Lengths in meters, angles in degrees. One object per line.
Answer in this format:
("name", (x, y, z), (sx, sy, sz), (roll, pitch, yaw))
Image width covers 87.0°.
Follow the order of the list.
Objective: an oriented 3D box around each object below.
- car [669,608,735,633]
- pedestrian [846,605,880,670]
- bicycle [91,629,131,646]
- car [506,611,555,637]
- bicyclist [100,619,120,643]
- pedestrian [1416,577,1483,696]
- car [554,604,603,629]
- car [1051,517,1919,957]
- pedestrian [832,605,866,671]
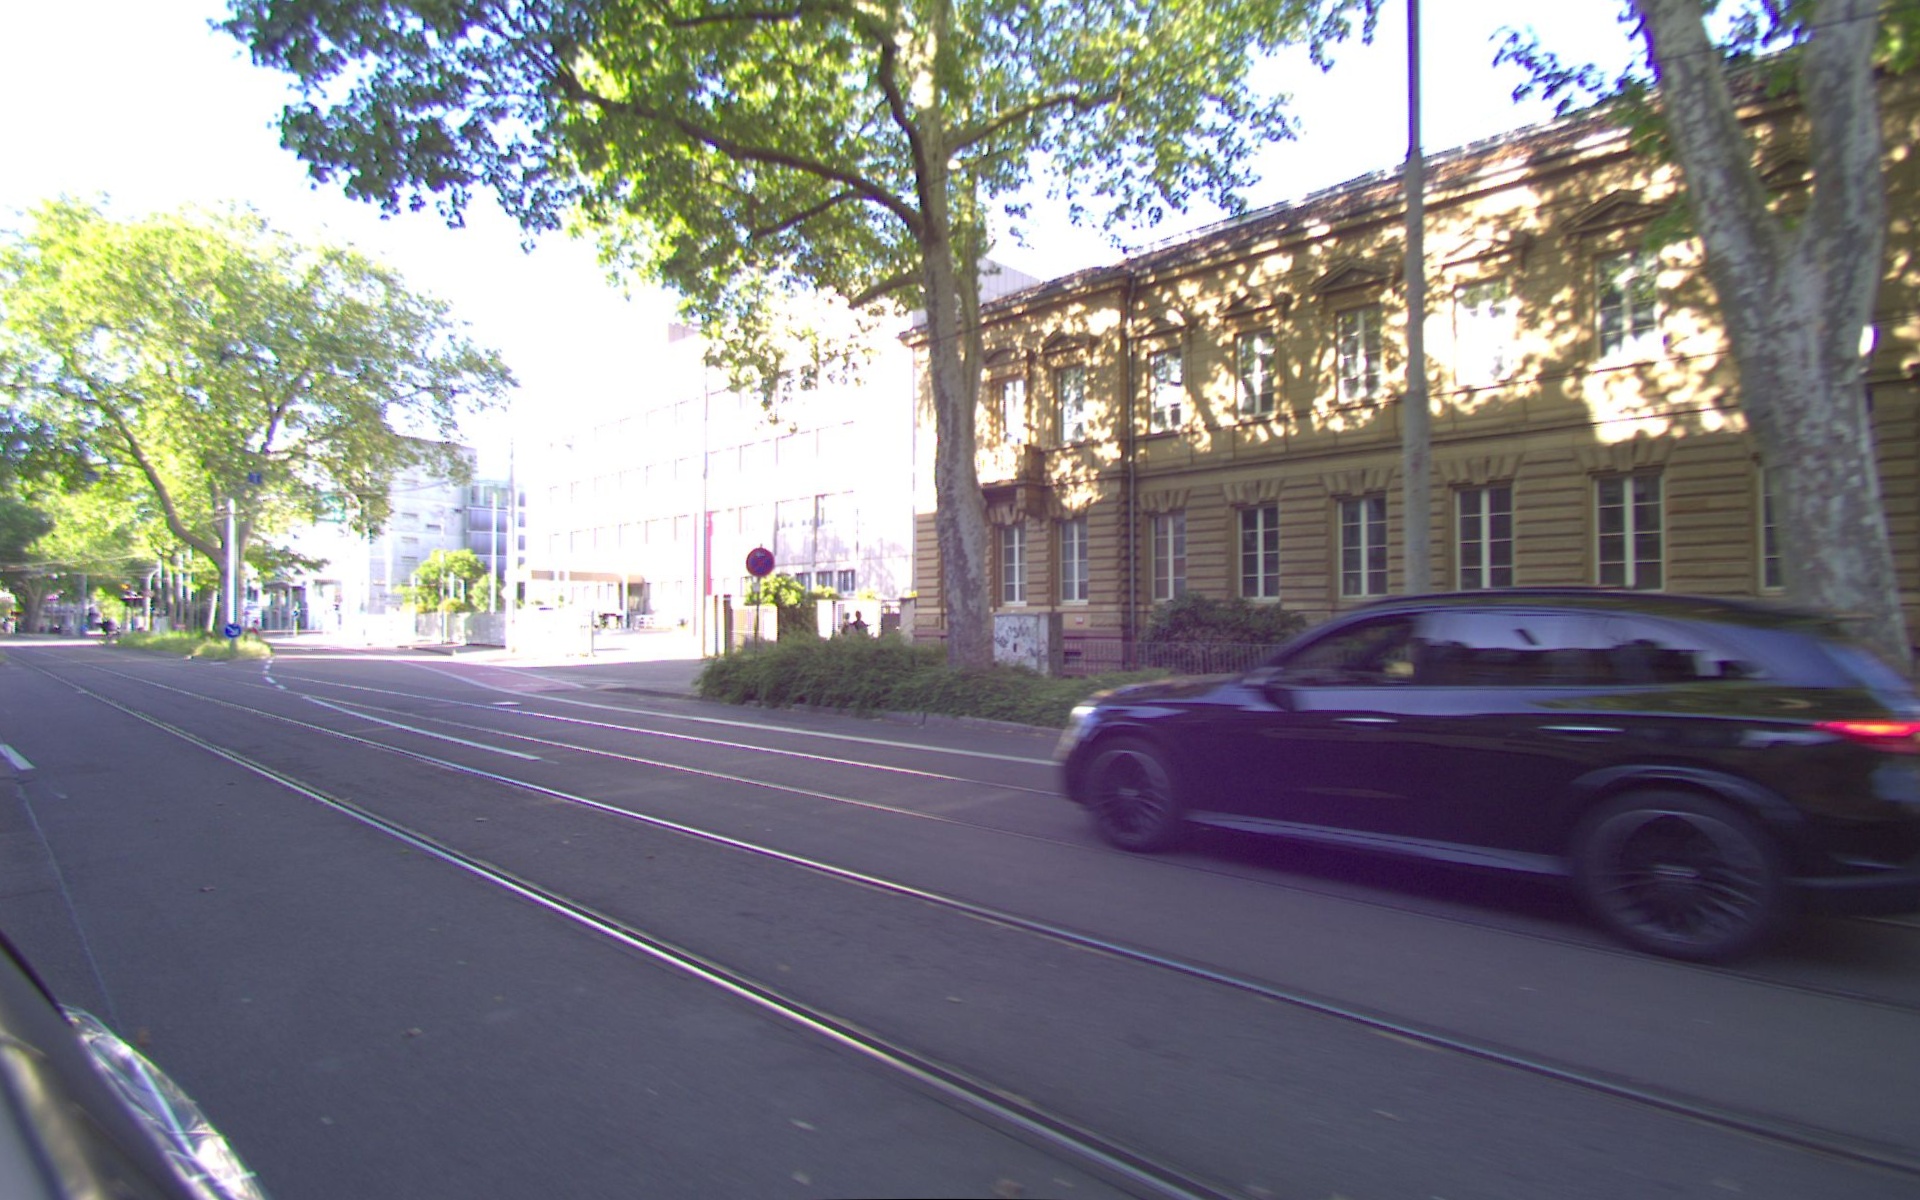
("car", (-18.252, 1.447, 71.714), (1.853, 1.732, 4.220), (-1, -1, 43))
("pedestrian", (-2.626, 1.003, 27.368), (0.661, 1.710, 0.665), (-1, -1, 36))
("bicycle", (-58.996, 2.580, 70.346), (2.053, 1.137, 0.761), (1, -1, -44))
("car", (-31.308, 1.720, 73.671), (4.000, 1.831, 1.827), (-1, -1, 43))
("bicyclist", (-59.053, 2.143, 70.309), (0.993, 1.588, 0.761), (1, -2, -44))
("pedestrian", (7.896, 0.580, 16.321), (0.836, 1.863, 0.712), (-1, -1, 36))
("car", (-28.469, 1.231, 75.489), (4.000, 1.765, 1.827), (-1, -1, 43))
("car", (2.871, 0.585, 5.779), (4.561, 1.642, 1.845), (-2, -3, 44))
("pedestrian", (-2.936, 0.995, 26.758), (0.655, 1.710, 0.628), (-1, -1, 36))
